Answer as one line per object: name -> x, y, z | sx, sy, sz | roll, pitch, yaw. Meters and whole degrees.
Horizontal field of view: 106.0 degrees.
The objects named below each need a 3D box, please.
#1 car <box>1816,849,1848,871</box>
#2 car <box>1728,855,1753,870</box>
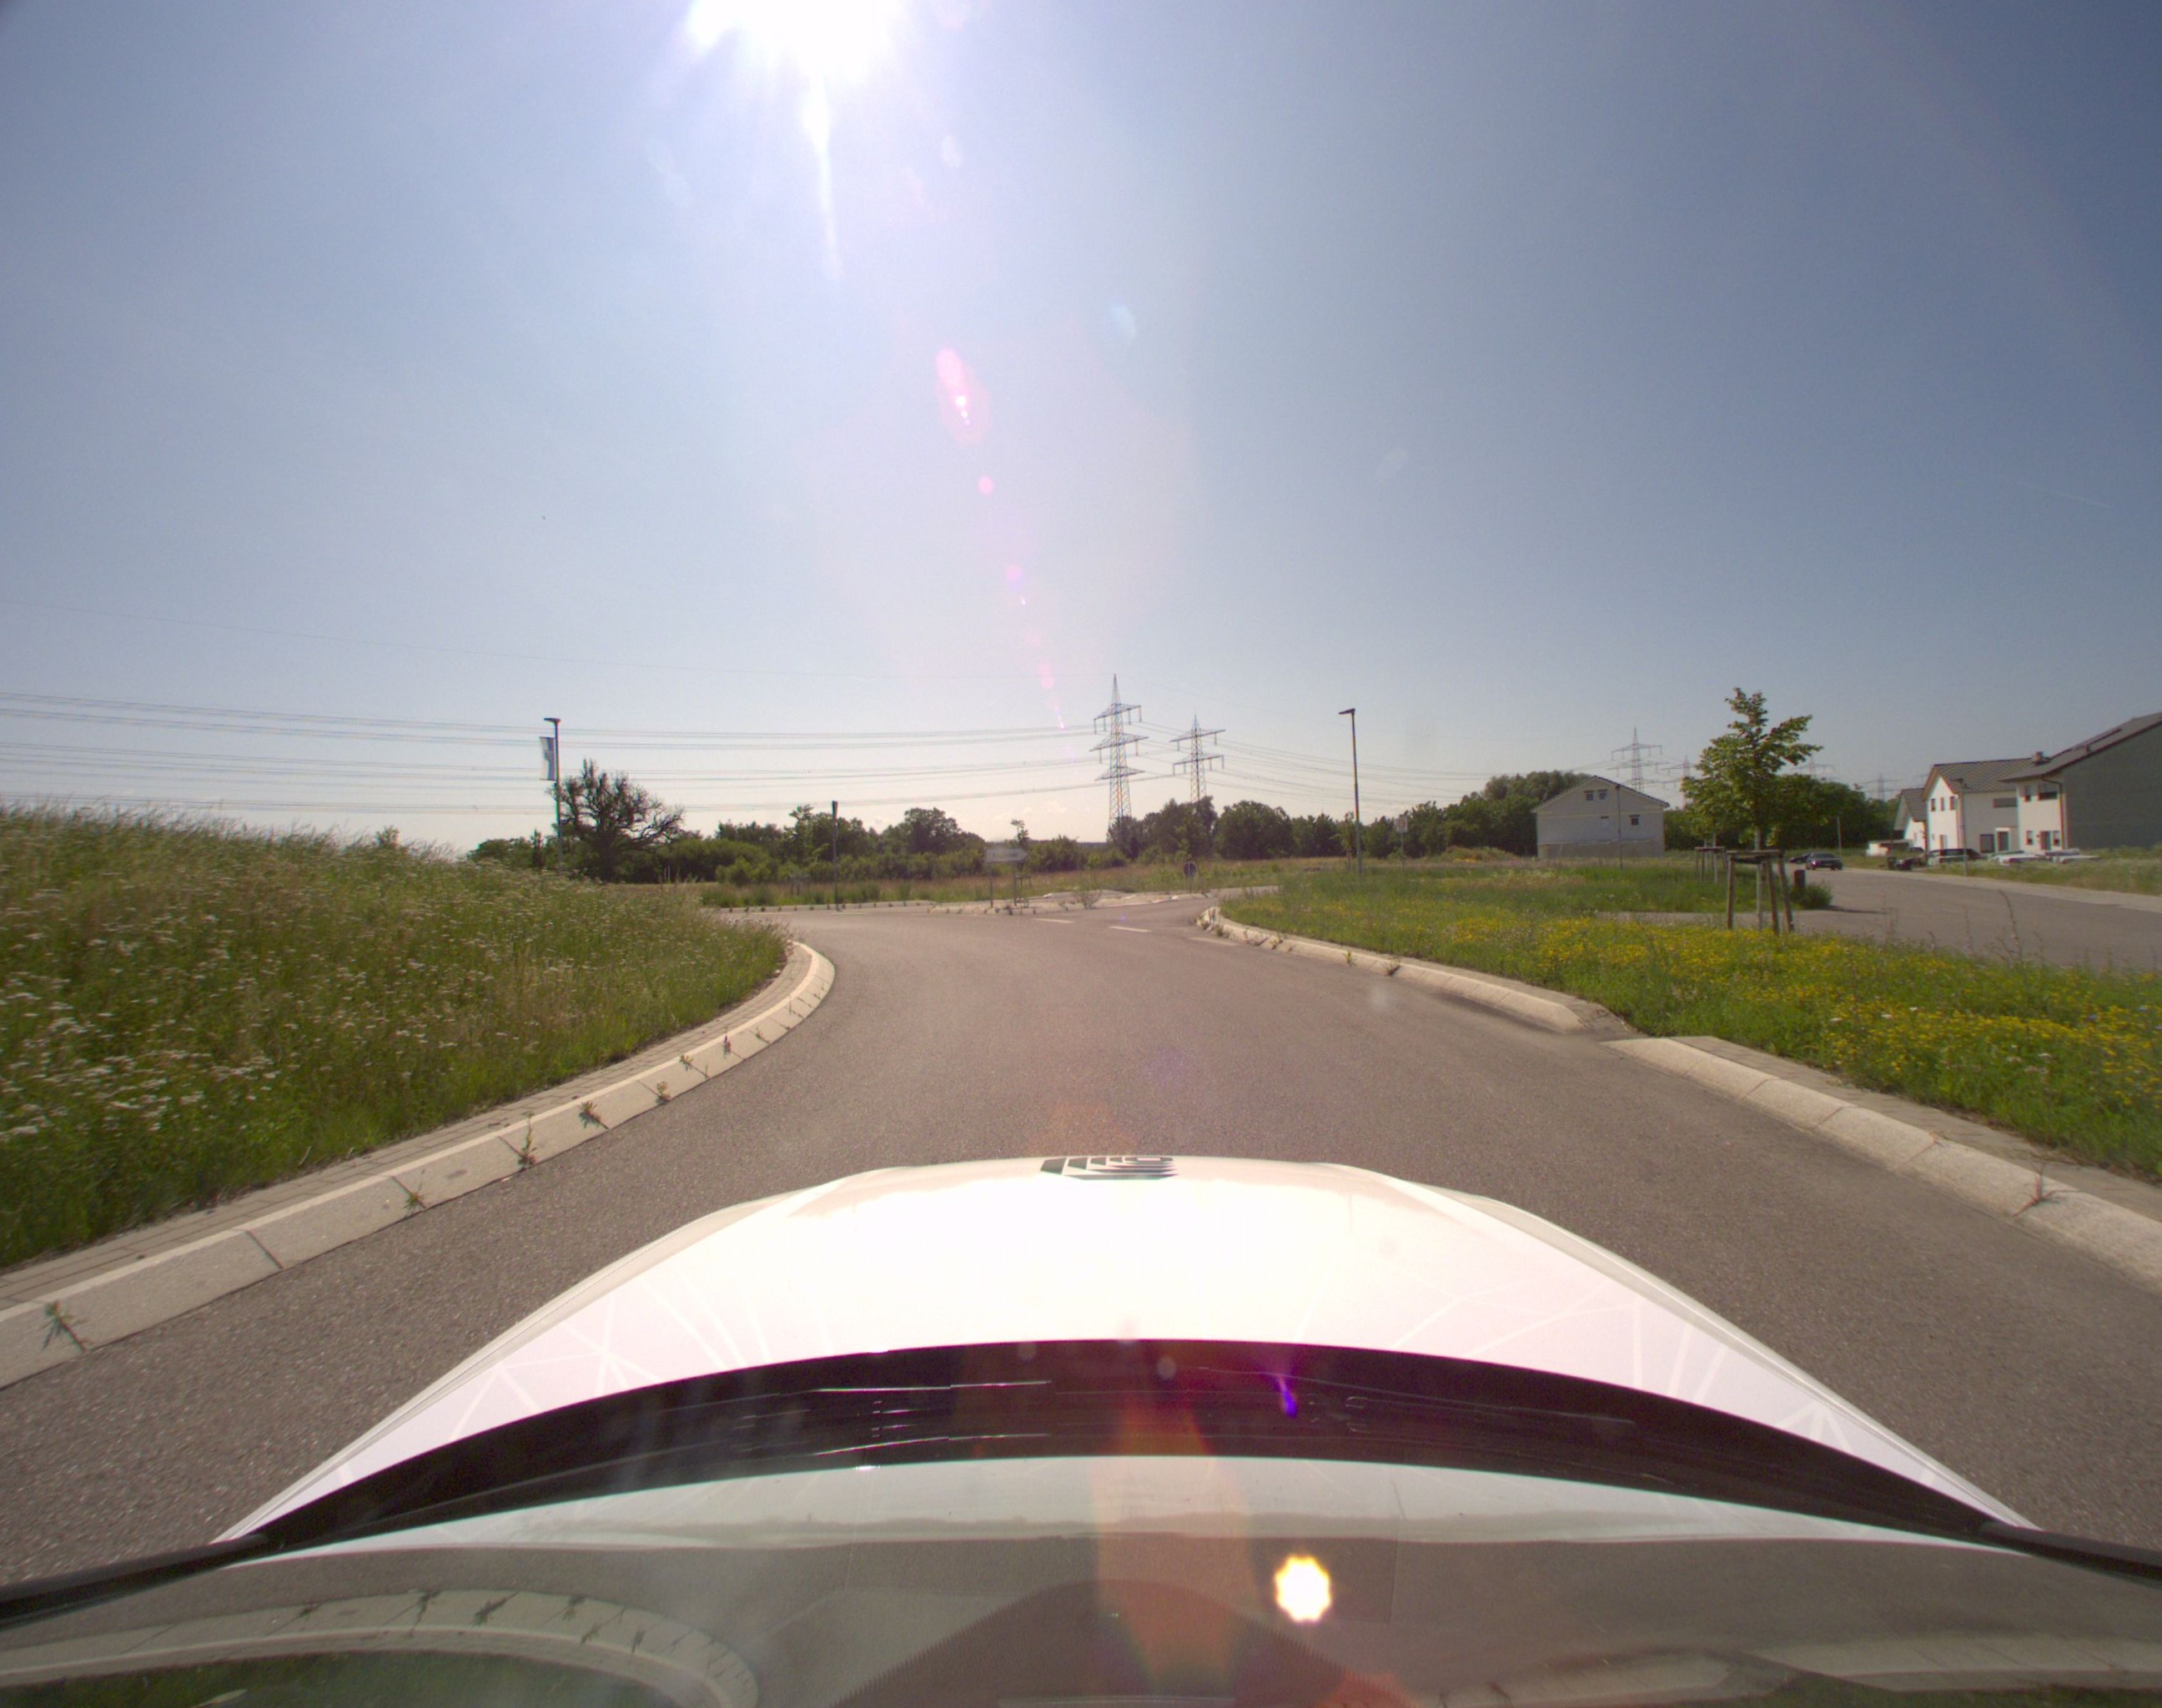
car -> 61.197, 0.502, 66.319 | 3.506, 1.662, 1.661 | 1, -2, -44
car -> 73.105, 0.939, 90.275 | 3.506, 1.662, 1.661 | 1, -2, -44
